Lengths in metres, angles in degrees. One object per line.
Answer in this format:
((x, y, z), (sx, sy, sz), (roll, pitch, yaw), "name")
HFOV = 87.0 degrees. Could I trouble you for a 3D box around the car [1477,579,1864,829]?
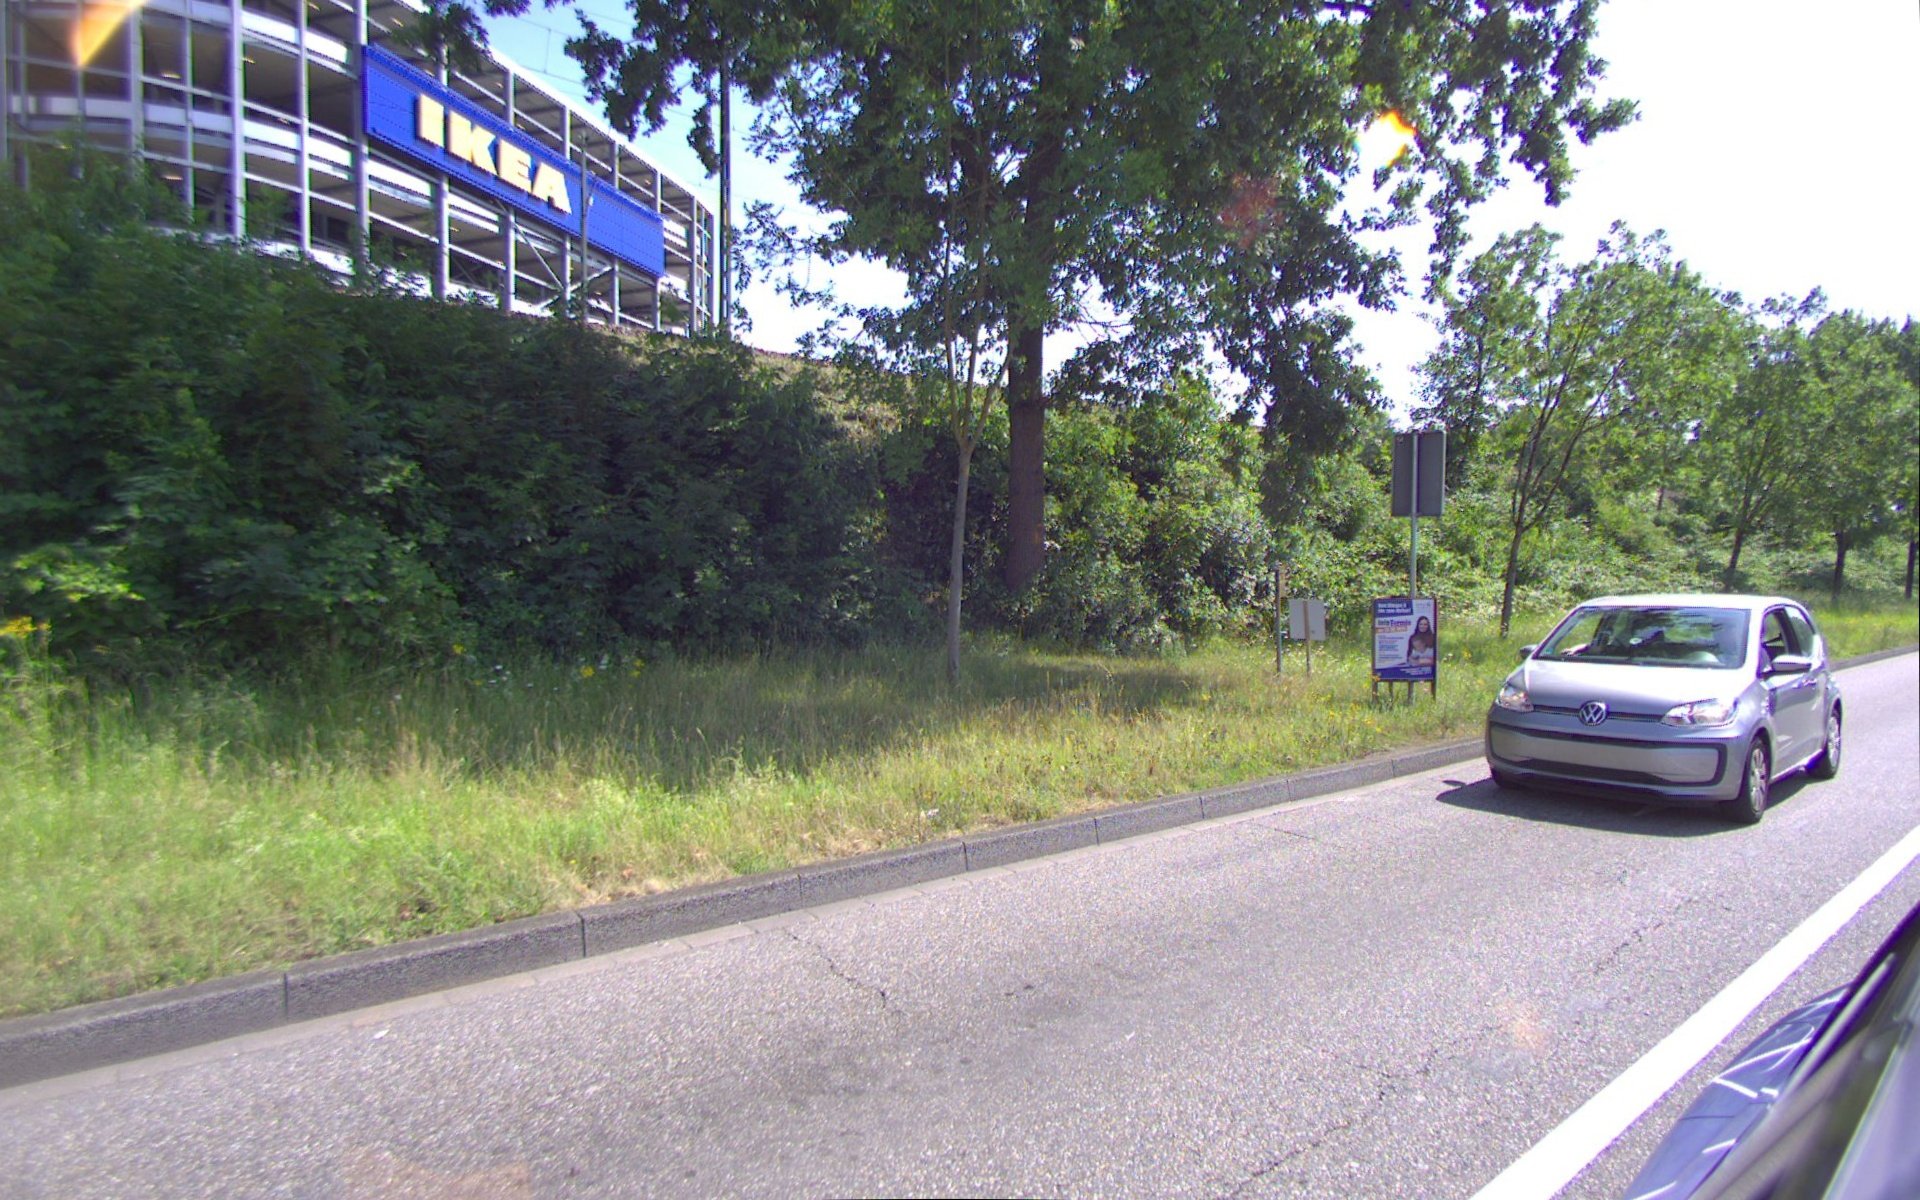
((5.596, 0.602, 7.805), (3.616, 1.455, 1.702), (-1, -1, -43), "car")
